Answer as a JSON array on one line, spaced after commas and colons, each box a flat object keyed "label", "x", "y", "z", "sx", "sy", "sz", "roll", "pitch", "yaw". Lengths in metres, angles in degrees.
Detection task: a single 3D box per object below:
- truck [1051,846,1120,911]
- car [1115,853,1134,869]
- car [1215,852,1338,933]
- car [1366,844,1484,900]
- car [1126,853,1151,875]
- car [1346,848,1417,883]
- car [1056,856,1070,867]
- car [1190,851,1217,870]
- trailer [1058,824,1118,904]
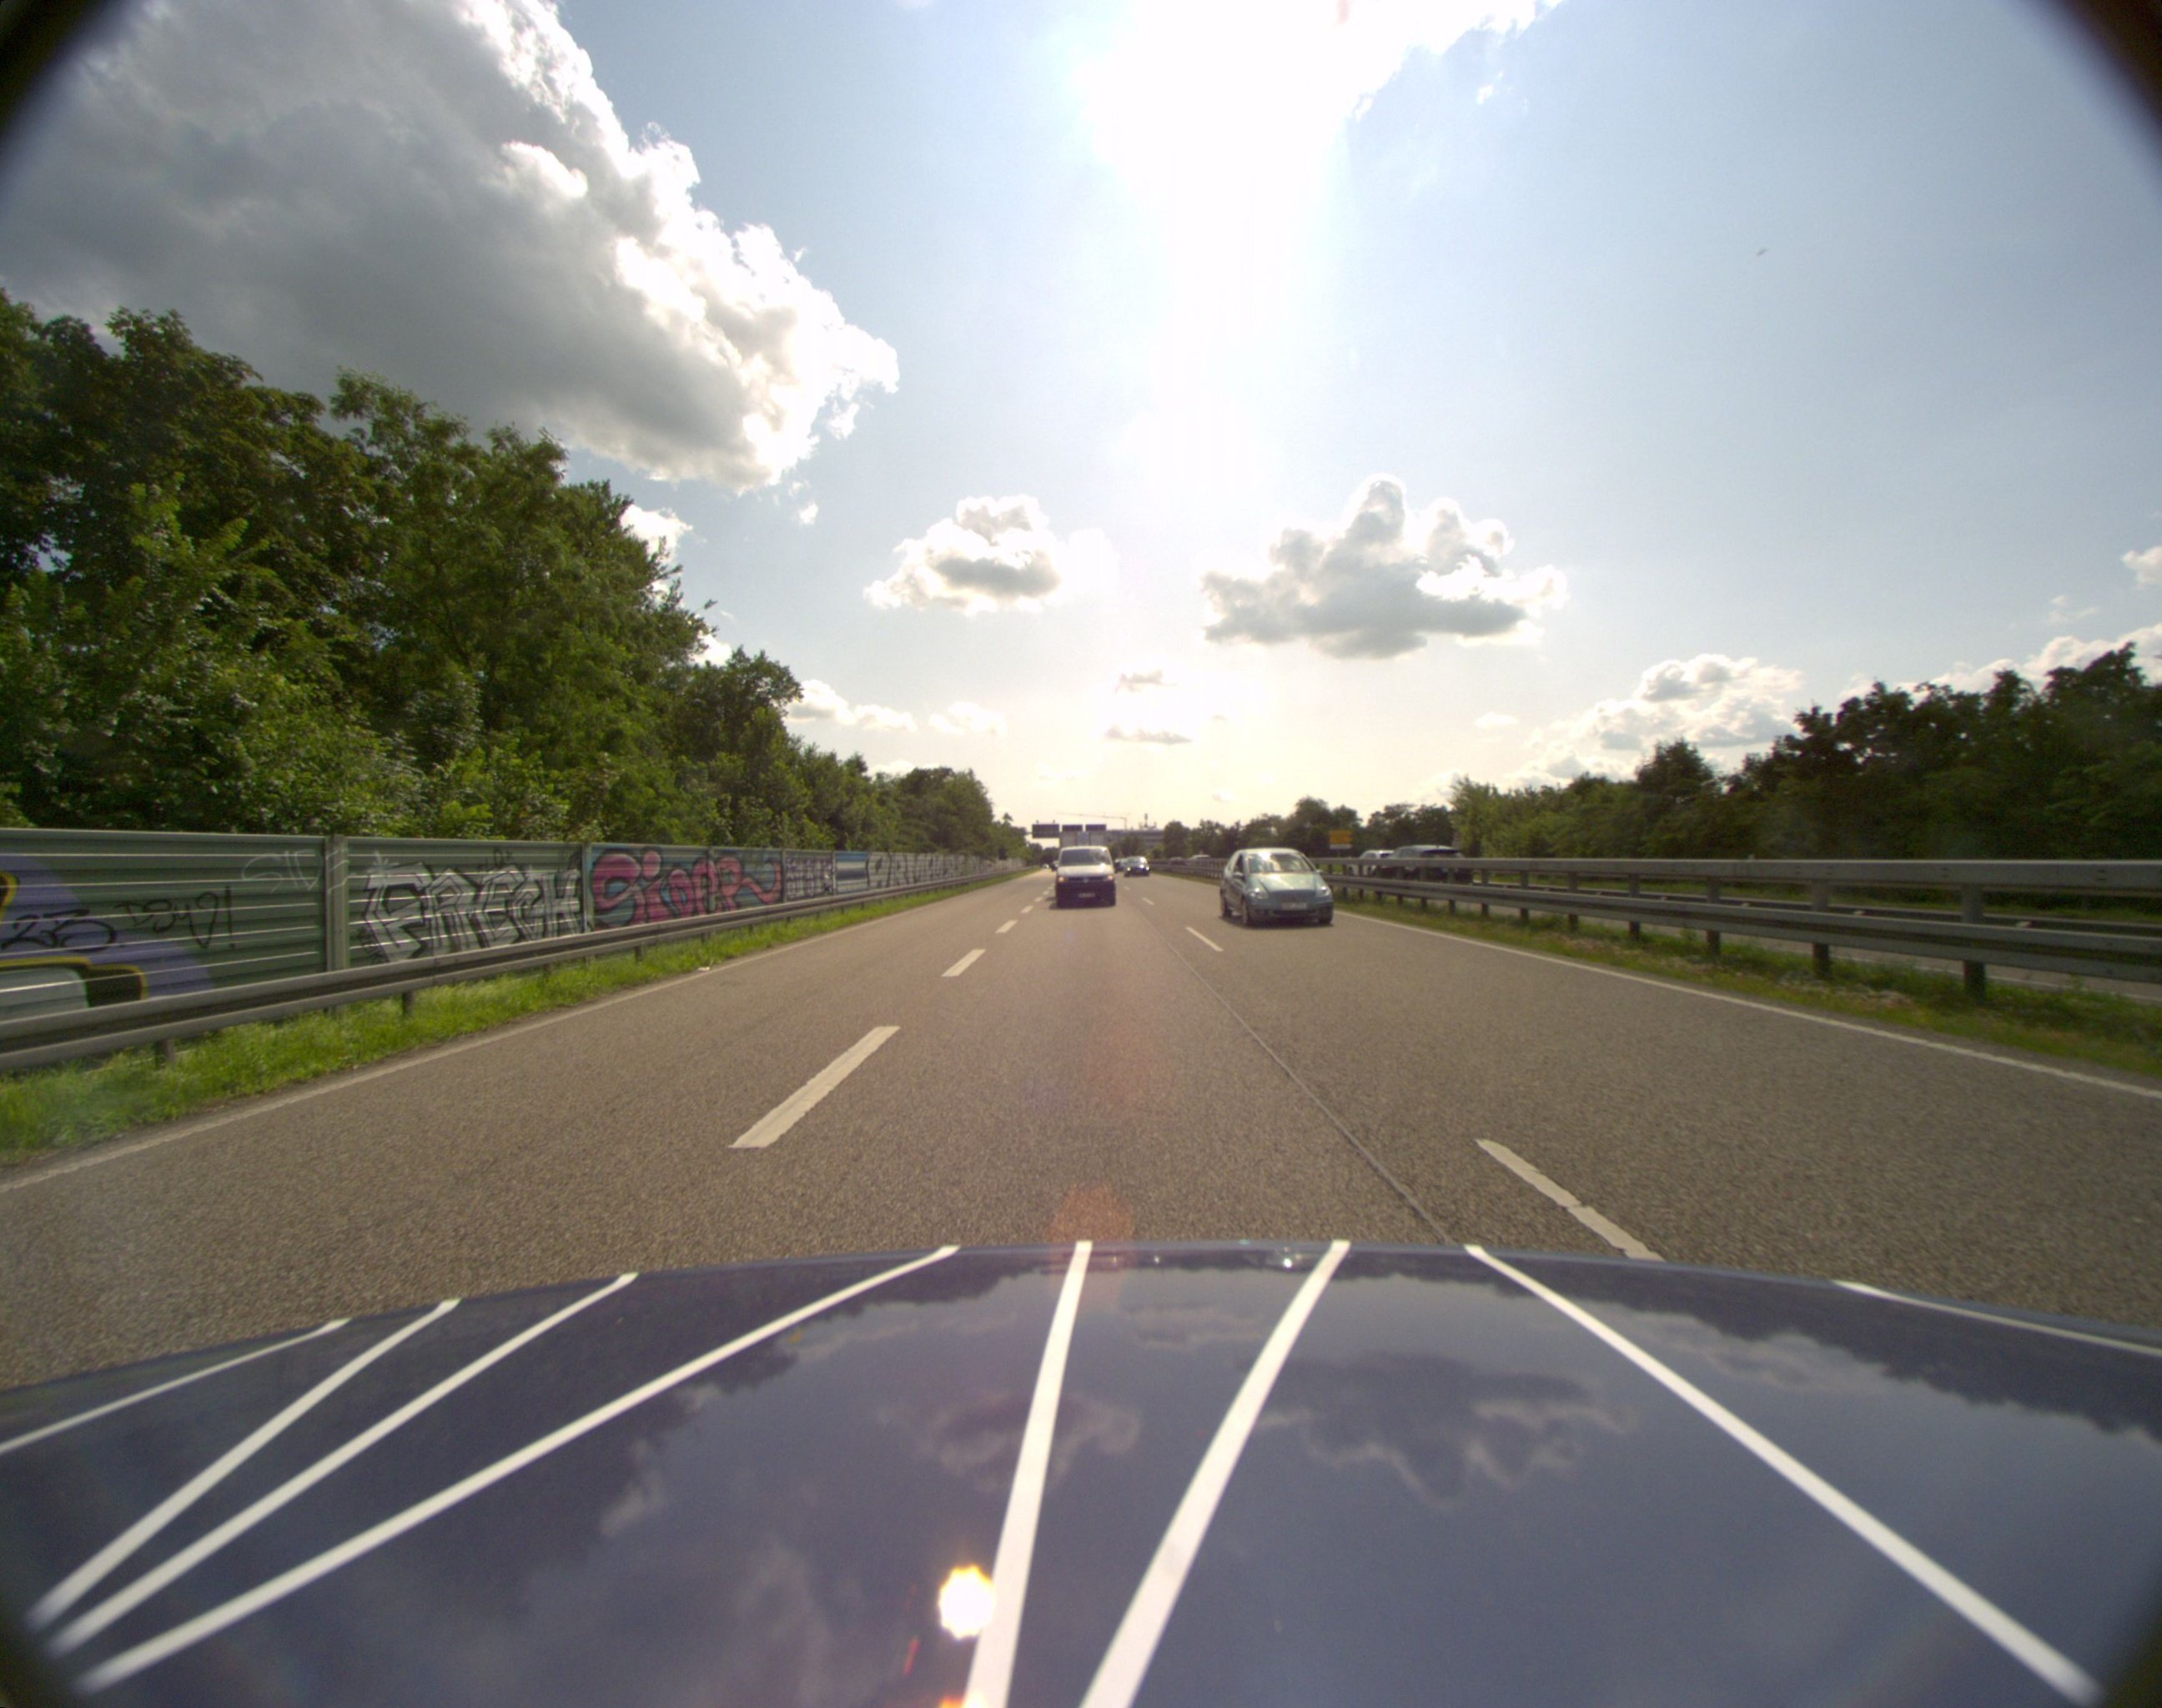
[{"label": "truck", "x": 0.186, "y": 0.732, "z": 24.763, "sx": 2.008, "sy": 1.905, "sz": 4.000, "roll": -2, "pitch": 0, "yaw": 1}, {"label": "car", "x": 4.334, "y": 0.703, "z": 75.872, "sx": 1.625, "sy": 1.403, "sz": 3.770, "roll": -3, "pitch": 1, "yaw": -1}, {"label": "car", "x": 4.165, "y": 0.739, "z": 16.839, "sx": 1.752, "sy": 1.522, "sz": 4.000, "roll": -2, "pitch": 0, "yaw": 1}, {"label": "car", "x": 11.113, "y": 0.510, "z": 24.893, "sx": 1.998, "sy": 1.588, "sz": 4.132, "roll": -3, "pitch": 1, "yaw": 1}, {"label": "car", "x": 4.474, "y": 0.732, "z": 59.804, "sx": 1.716, "sy": 1.518, "sz": 4.592, "roll": -3, "pitch": 1, "yaw": 2}, {"label": "car", "x": 15.694, "y": 0.544, "z": 39.994, "sx": 1.966, "sy": 1.636, "sz": 4.550, "roll": -3, "pitch": 1, "yaw": 1}, {"label": "car", "x": -2.540, "y": 1.023, "z": 108.283, "sx": 1.768, "sy": 1.403, "sz": 3.771, "roll": -3, "pitch": 1, "yaw": 2}, {"label": "car", "x": 11.388, "y": 0.604, "z": 71.044, "sx": 1.692, "sy": 1.636, "sz": 4.268, "roll": -3, "pitch": 1, "yaw": -1}, {"label": "trailer", "x": 0.290, "y": 0.314, "z": 29.753, "sx": 1.998, "sy": 2.723, "sz": 5.966, "roll": -3, "pitch": 1, "yaw": 1}]
